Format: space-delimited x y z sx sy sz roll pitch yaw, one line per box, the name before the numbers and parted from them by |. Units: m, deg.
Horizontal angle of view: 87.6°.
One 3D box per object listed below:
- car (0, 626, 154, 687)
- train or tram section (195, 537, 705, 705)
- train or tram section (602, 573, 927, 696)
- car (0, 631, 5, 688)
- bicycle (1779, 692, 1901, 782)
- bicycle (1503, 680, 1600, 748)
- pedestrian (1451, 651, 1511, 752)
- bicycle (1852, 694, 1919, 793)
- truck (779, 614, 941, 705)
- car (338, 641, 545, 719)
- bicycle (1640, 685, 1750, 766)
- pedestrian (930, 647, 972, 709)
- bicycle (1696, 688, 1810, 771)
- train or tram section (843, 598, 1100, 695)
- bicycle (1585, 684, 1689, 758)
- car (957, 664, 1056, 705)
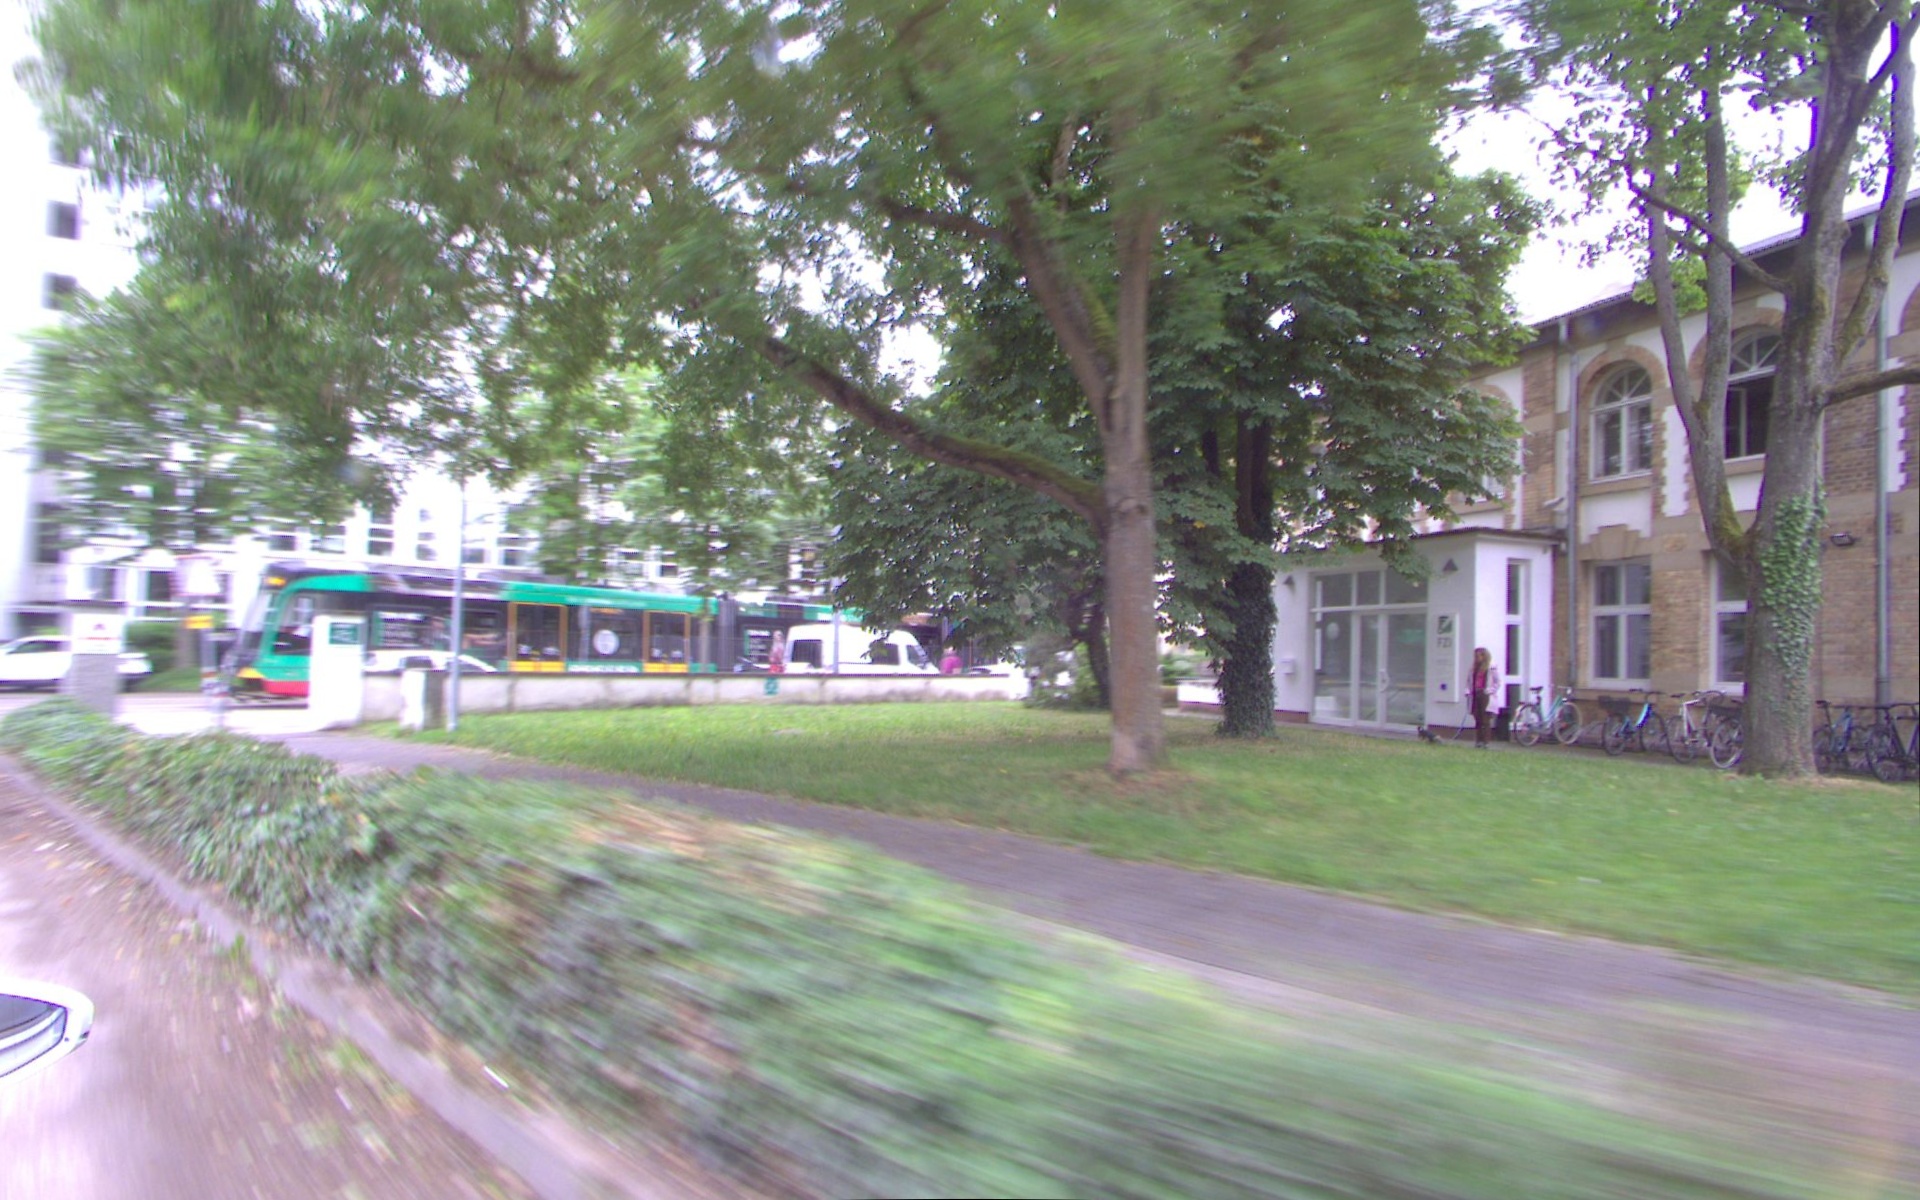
car | -25.282 1.614 28.507 3.341 1.638 1.558 1 -2 -1
train or tram section | -13.001 0.812 27.478 2.637 3.659 12.369 -1 -3 40
train or tram section | -6.285 1.391 35.463 2.637 3.659 12.369 -1 -3 40
car | -27.104 1.513 25.848 3.341 1.491 1.558 1 -2 -1
bicycle | 11.821 1.815 13.448 1.715 1.129 0.460 1 -2 -20
bicycle | 10.170 1.955 17.203 1.715 1.128 0.460 3 -2 -20
pedestrian | 8.505 1.642 16.361 0.594 1.606 0.626 2 -2 -22
bicycle | 12.088 1.780 12.647 1.715 1.129 0.460 0 -1 -20
truck | -3.003 1.831 31.030 2.144 2.577 4.893 -1 -3 40
car | -11.074 1.699 21.538 1.646 1.519 3.568 -1 -4 41
bicycle | 11.082 1.873 15.092 1.715 1.129 0.460 0 -1 -20
pedestrian | -0.257 2.281 29.351 0.798 1.739 0.951 0 -3 34
bicycle | 11.360 1.845 14.337 1.715 1.128 0.460 3 -2 -20
train or tram section | 1.126 2.172 44.344 2.637 3.659 14.666 -1 -3 40
bicycle | 10.793 1.918 15.957 1.715 1.128 0.460 3 -2 -20
car | 1.734 3.049 36.600 1.789 1.371 3.788 -1 -3 37
